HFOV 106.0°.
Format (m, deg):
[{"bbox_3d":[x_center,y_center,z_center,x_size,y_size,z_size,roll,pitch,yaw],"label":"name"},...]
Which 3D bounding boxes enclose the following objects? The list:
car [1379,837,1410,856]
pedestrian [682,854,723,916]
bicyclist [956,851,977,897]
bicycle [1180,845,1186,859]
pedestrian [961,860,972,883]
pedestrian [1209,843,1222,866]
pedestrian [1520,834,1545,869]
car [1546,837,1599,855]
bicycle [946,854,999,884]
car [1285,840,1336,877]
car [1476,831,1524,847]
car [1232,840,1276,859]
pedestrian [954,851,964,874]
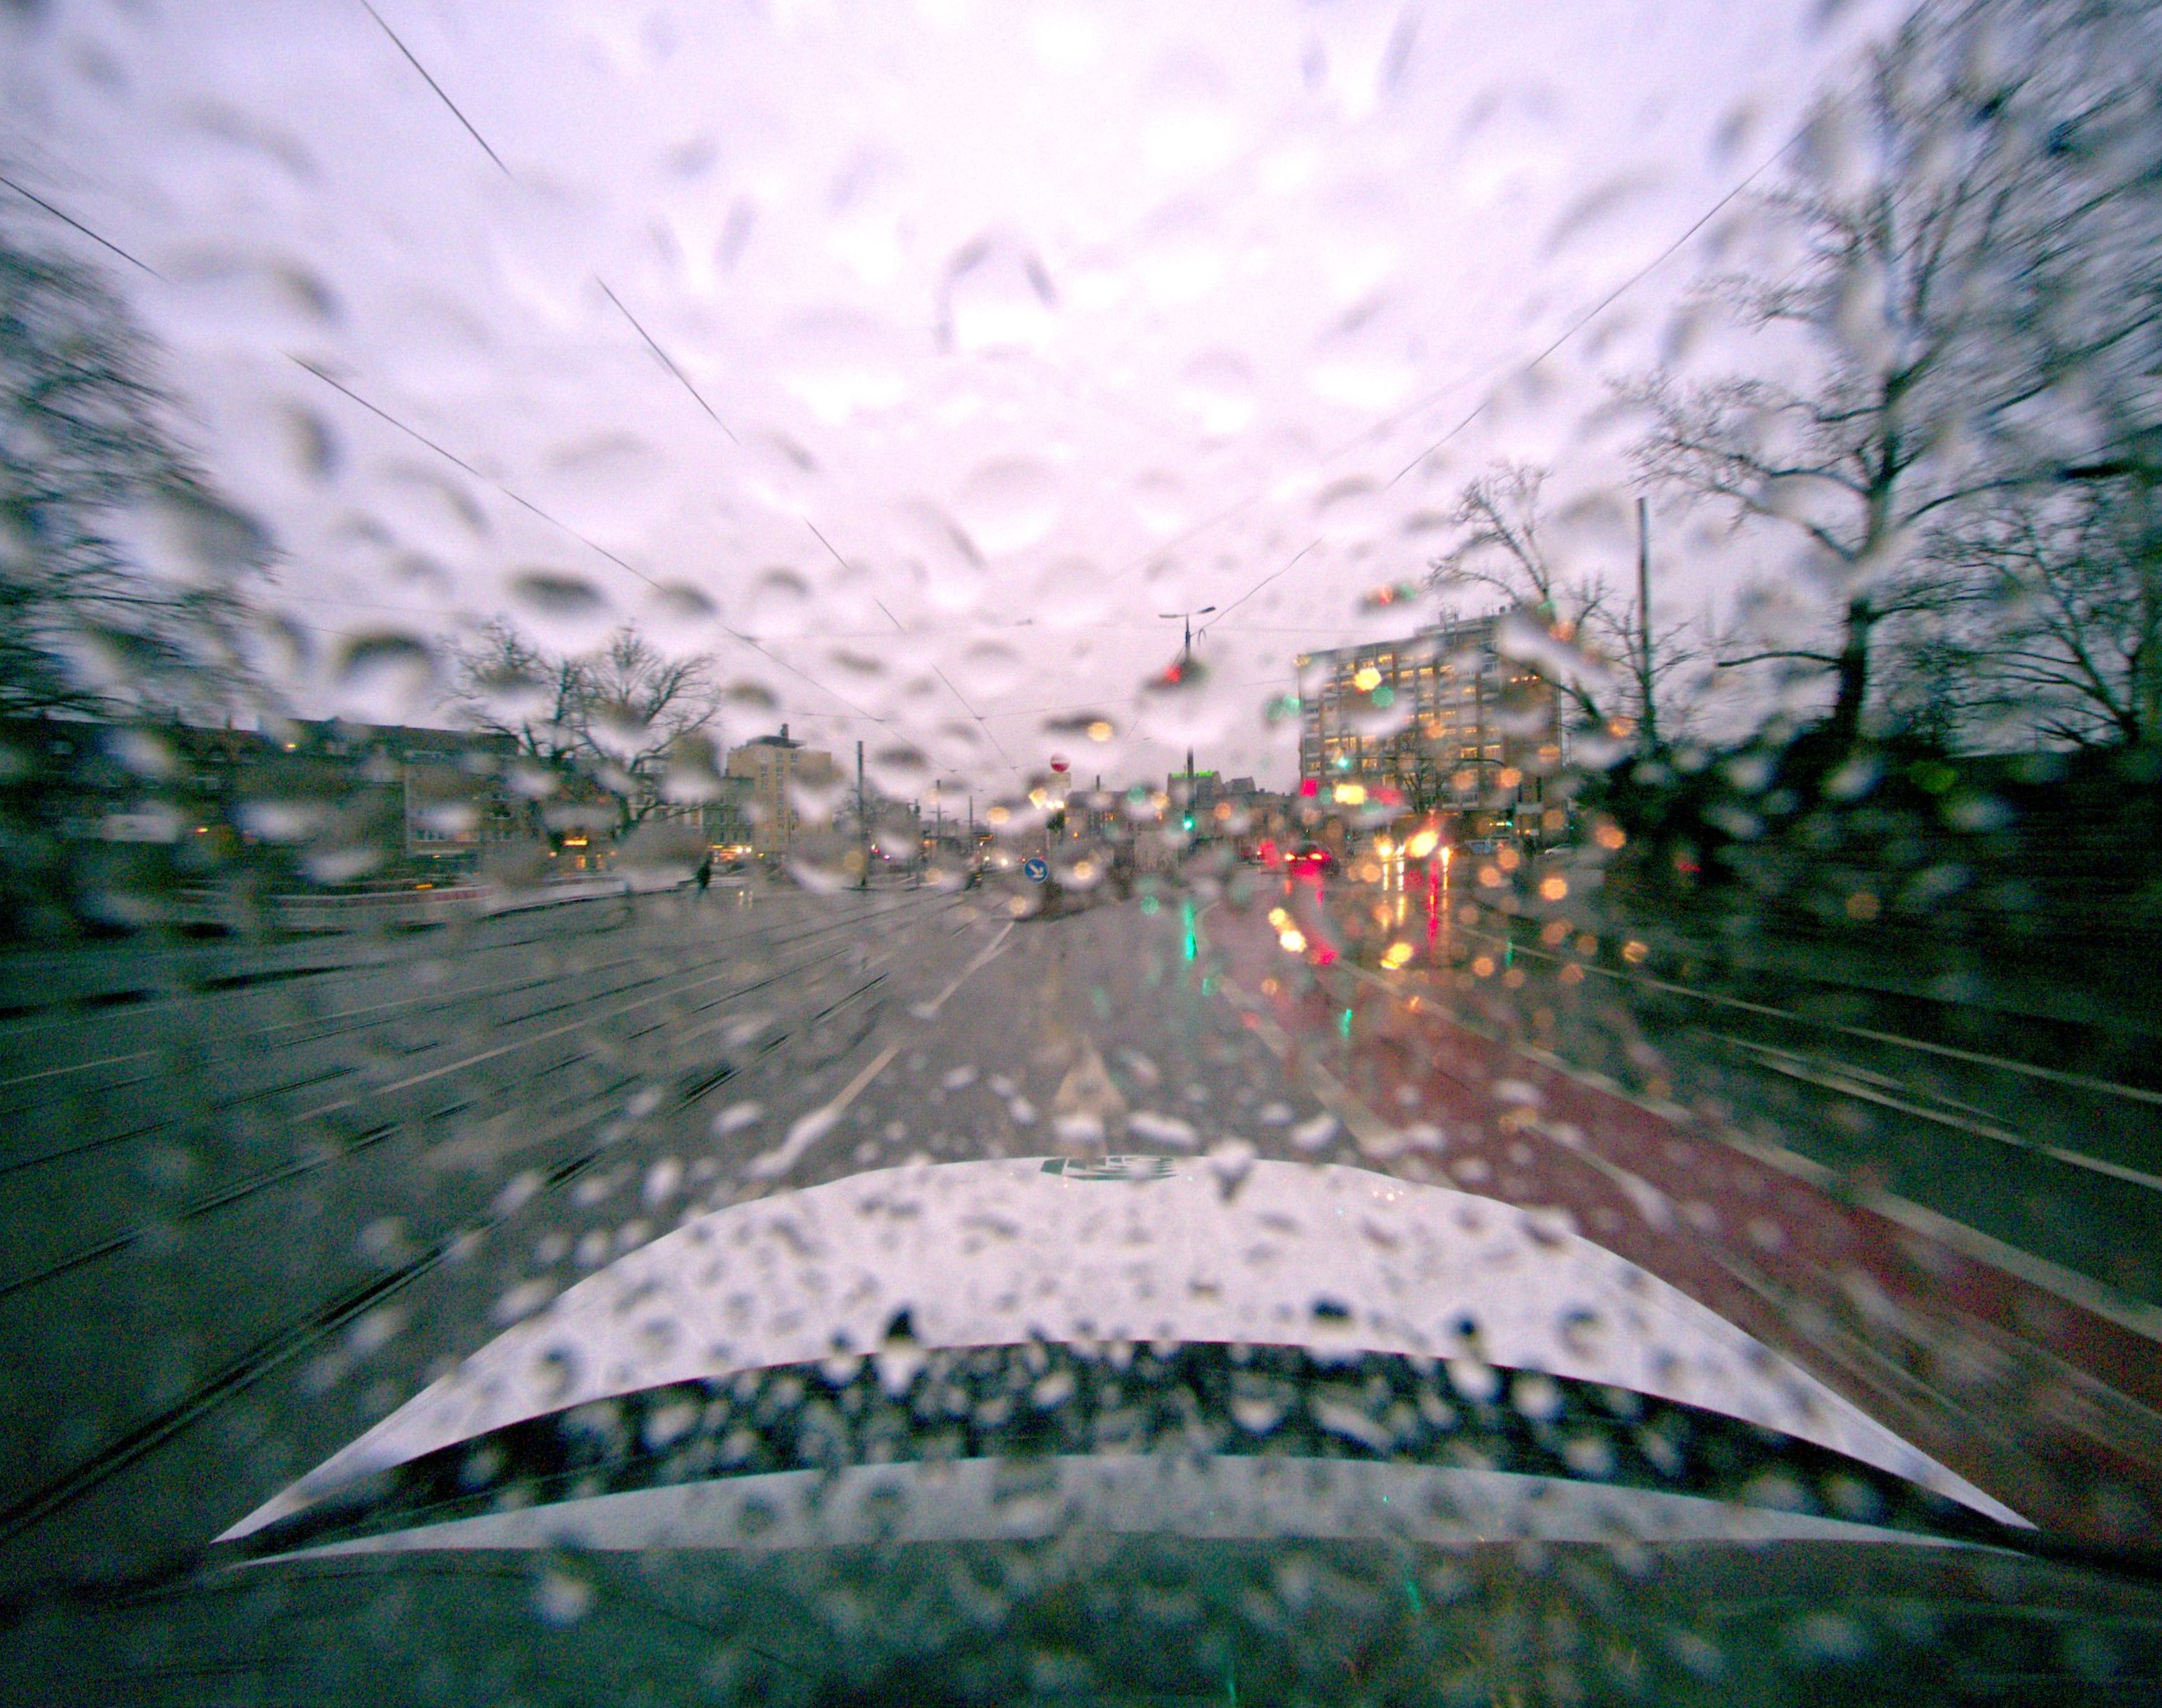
[{"bbox_3d":[30.244,-0.756,78.508,1.737,1.662,4.559,-3,0,34],"label":"car"},{"bbox_3d":[-14.766,1.200,31.778,0.984,2.370,1.071,0,-1,30],"label":"pedestrian"},{"bbox_3d":[-4.537,0.782,32.292,0.604,1.768,0.593,0,-1,44],"label":"bicyclist"},{"bbox_3d":[8.956,-0.152,71.541,0.546,1.165,1.901,0,0,5],"label":"bicycle"},{"bbox_3d":[-9.204,1.420,65.462,0.710,1.806,0.717,-1,-1,0],"label":"pedestrian"},{"bbox_3d":[9.899,0.053,59.989,0.666,1.674,0.735,0,-1,38],"label":"pedestrian"},{"bbox_3d":[22.170,-0.125,40.006,0.798,1.684,1.162,-3,0,18],"label":"pedestrian"},{"bbox_3d":[56.106,-0.900,92.995,2.011,2.014,4.887,1,0,-43],"label":"car"},{"bbox_3d":[-4.320,0.577,32.544,0.620,1.074,2.223,0,2,42],"label":"bicycle"},{"bbox_3d":[12.051,0.193,42.639,1.631,1.818,4.025,0,2,30],"label":"car"},{"bbox_3d":[56.835,-2.036,110.553,5.494,2.024,2.012,0,0,41],"label":"car"},{"bbox_3d":[21.288,-0.575,100.208,2.269,2.281,4.980,1,0,-39],"label":"car"},{"bbox_3d":[-9.477,0.651,63.281,0.710,1.757,0.717,-1,-1,0],"label":"pedestrian"}]
